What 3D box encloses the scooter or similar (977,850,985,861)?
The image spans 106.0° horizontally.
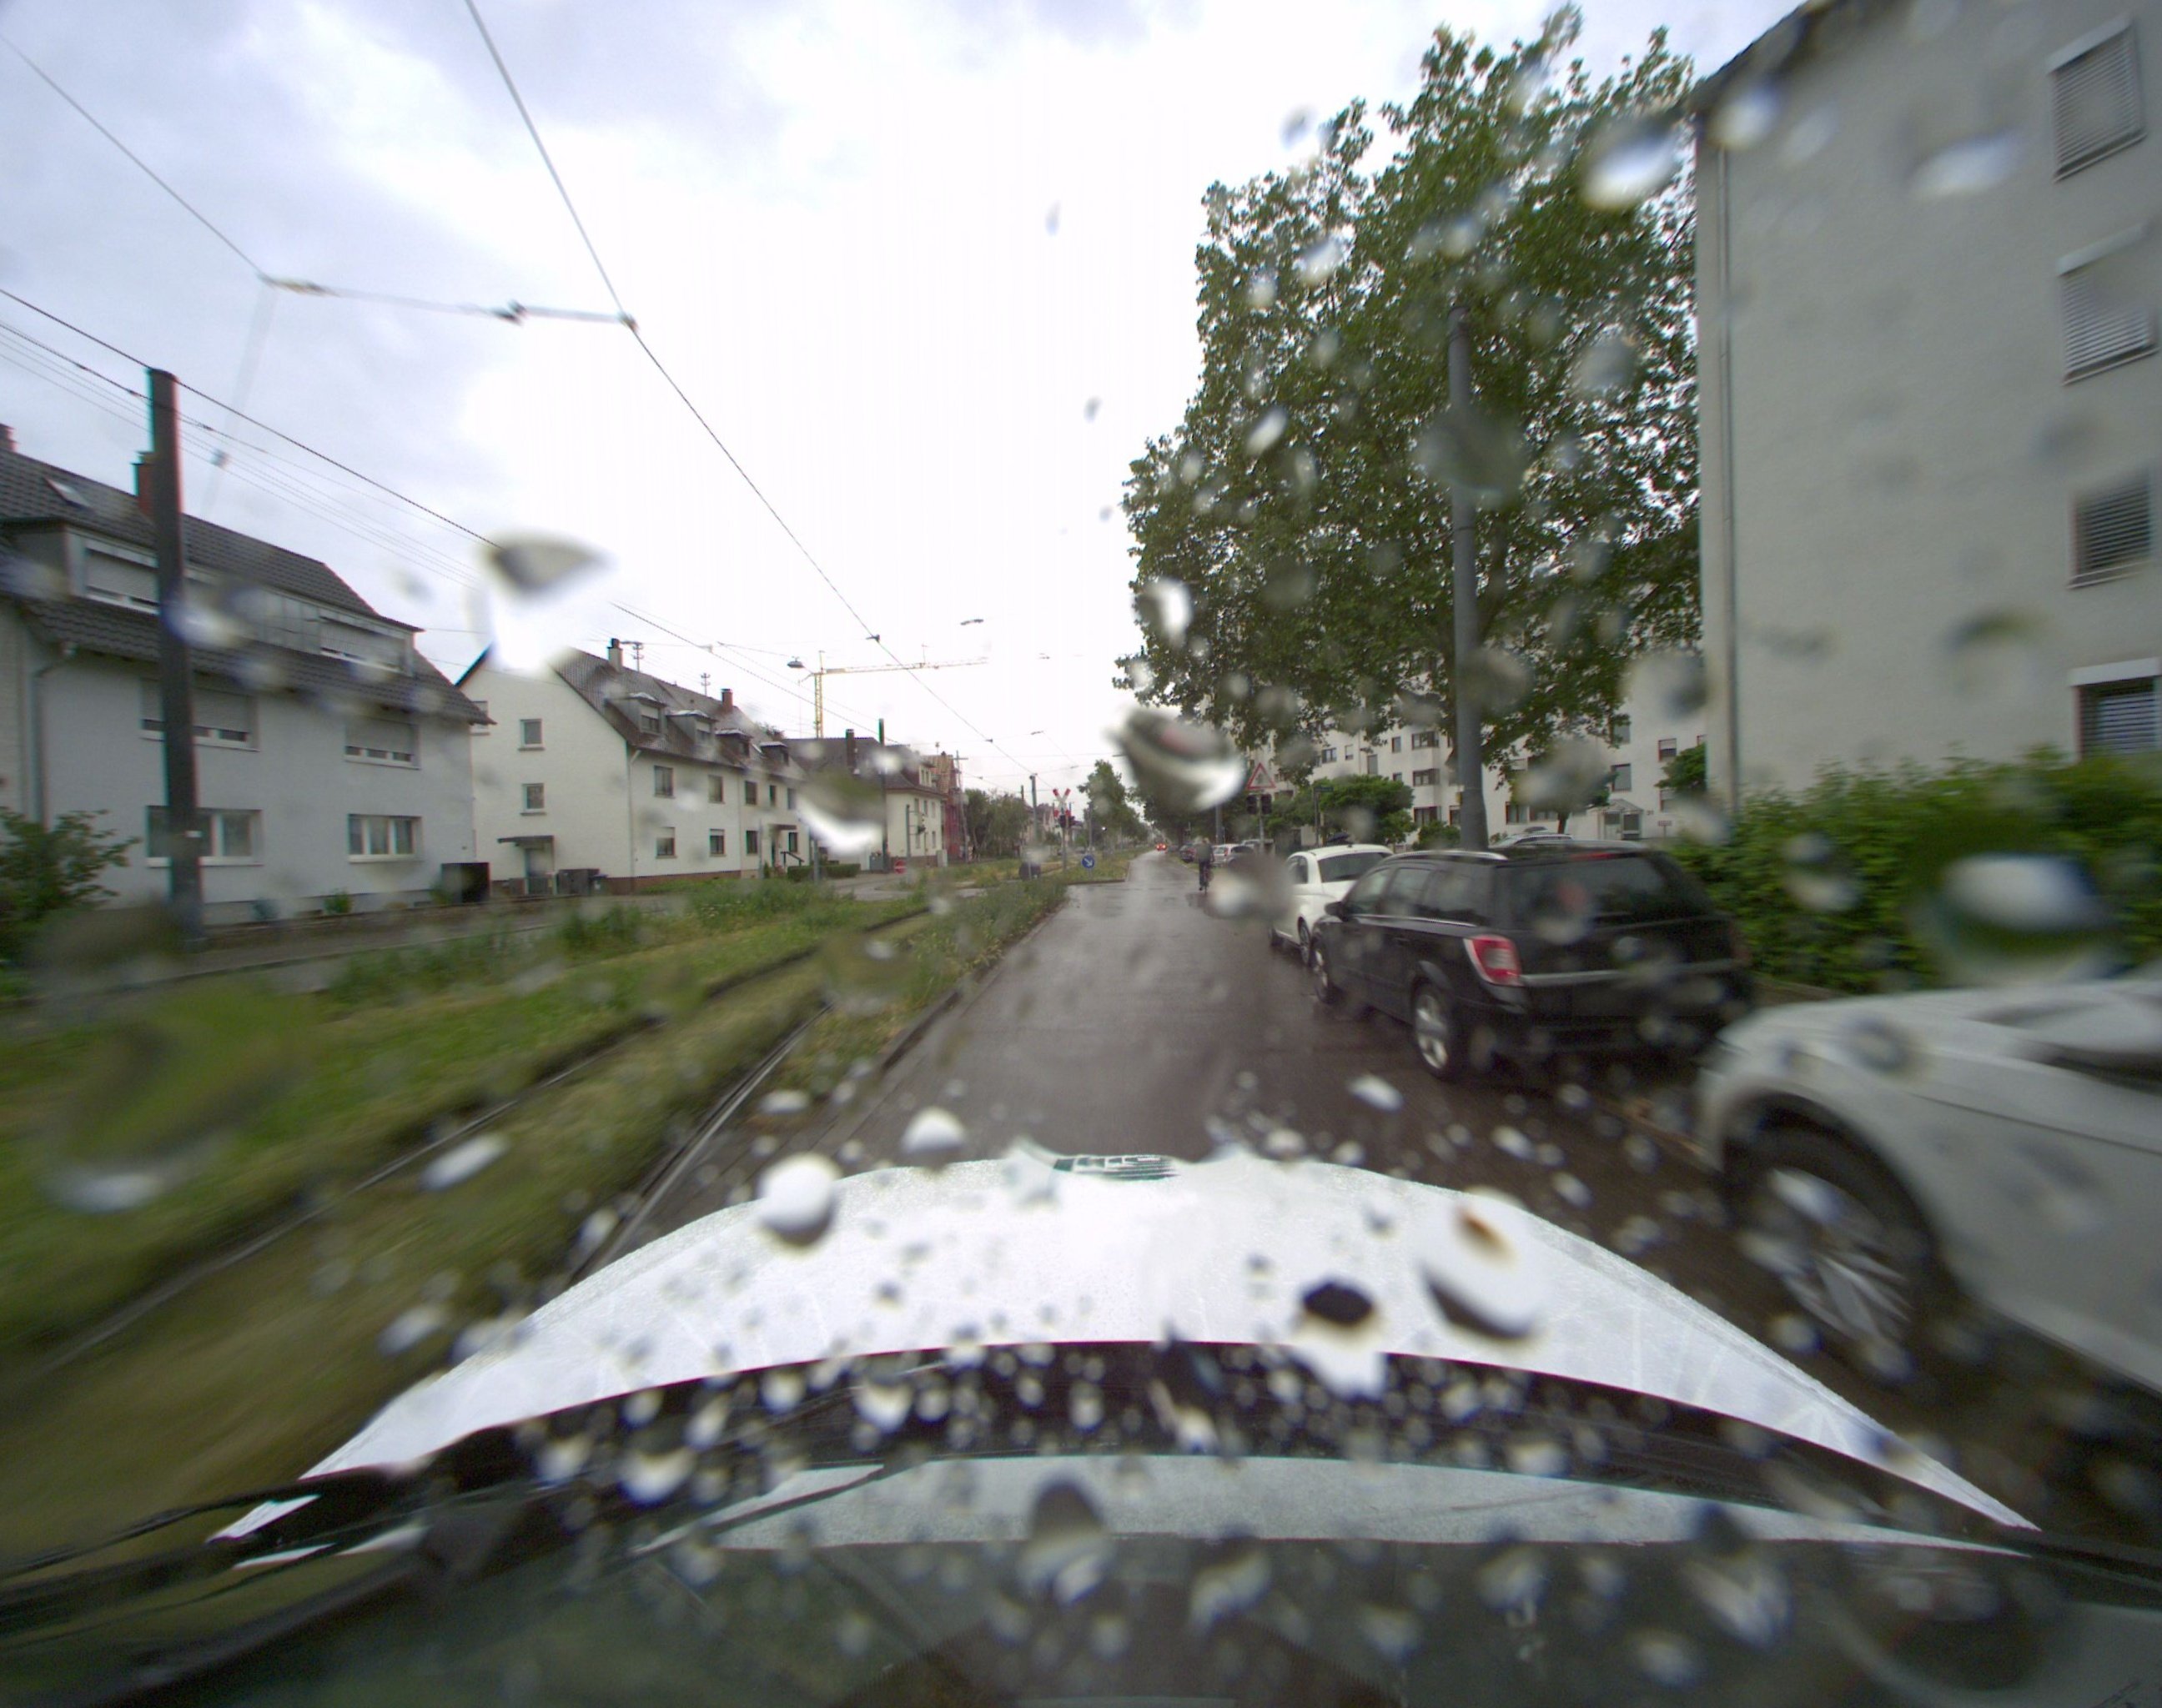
[{"bbox_3d":[-11.515,0.160,93.654,0.390,1.180,1.289,-2,0,20],"label":"scooter or similar"}]

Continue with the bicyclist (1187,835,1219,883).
[{"bbox_3d":[3.805,0.144,25.405,0.806,1.432,1.061,-2,0,2],"label":"bicyclist"}]

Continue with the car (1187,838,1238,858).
[{"bbox_3d":[10.586,-0.461,65.299,4.019,1.428,1.715,-3,1,-37],"label":"car"}]

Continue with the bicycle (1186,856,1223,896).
[{"bbox_3d":[3.826,0.648,25.385,0.806,1.096,2.519,-3,1,2],"label":"bicycle"}]

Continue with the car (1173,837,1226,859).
[{"bbox_3d":[9.978,-0.482,68.351,4.370,1.651,1.837,-3,1,-37],"label":"car"}]

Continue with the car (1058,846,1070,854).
[{"bbox_3d":[-3.005,-0.747,148.551,1.655,1.244,4.079,0,1,6],"label":"car"}]

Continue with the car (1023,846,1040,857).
[{"bbox_3d":[-7.276,-0.415,119.444,1.701,1.542,4.431,0,1,7],"label":"car"}]

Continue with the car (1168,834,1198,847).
[{"bbox_3d":[15.881,-2.096,127.123,4.158,1.719,1.983,-5,2,-27],"label":"car"}]

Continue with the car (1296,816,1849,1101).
[{"bbox_3d":[3.183,0.536,6.454,1.893,1.449,4.185,-3,1,1],"label":"car"}]

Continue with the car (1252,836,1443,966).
[{"bbox_3d":[3.669,0.546,11.939,1.552,1.519,4.002,-3,1,2],"label":"car"}]

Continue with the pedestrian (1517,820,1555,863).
[{"bbox_3d":[19.281,-0.540,34.513,1.174,1.768,0.721,-2,0,1],"label":"pedestrian"}]

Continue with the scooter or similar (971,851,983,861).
[{"bbox_3d":[-11.561,0.241,90.544,0.435,1.129,1.291,-2,0,35],"label":"scooter or similar"}]

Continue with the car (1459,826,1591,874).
[{"bbox_3d":[17.821,-0.153,32.849,4.272,1.680,1.874,-2,0,5],"label":"car"}]

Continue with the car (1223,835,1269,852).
[{"bbox_3d":[19.000,-1.218,93.818,4.804,1.745,1.993,-2,0,-11],"label":"car"}]

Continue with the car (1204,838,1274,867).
[{"bbox_3d":[9.725,-0.116,49.940,4.014,1.508,1.766,-3,-1,-32],"label":"car"}]

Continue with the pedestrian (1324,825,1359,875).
[{"bbox_3d":[9.750,-0.154,30.550,1.091,1.813,1.439,-2,1,14],"label":"pedestrian"}]

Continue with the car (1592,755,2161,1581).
[{"bbox_3d":[2.968,0.565,1.188,1.893,1.575,4.113,-3,1,1],"label":"car"}]

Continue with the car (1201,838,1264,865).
[{"bbox_3d":[9.934,-0.192,53.315,4.017,1.508,1.687,-3,-1,-35],"label":"car"}]
